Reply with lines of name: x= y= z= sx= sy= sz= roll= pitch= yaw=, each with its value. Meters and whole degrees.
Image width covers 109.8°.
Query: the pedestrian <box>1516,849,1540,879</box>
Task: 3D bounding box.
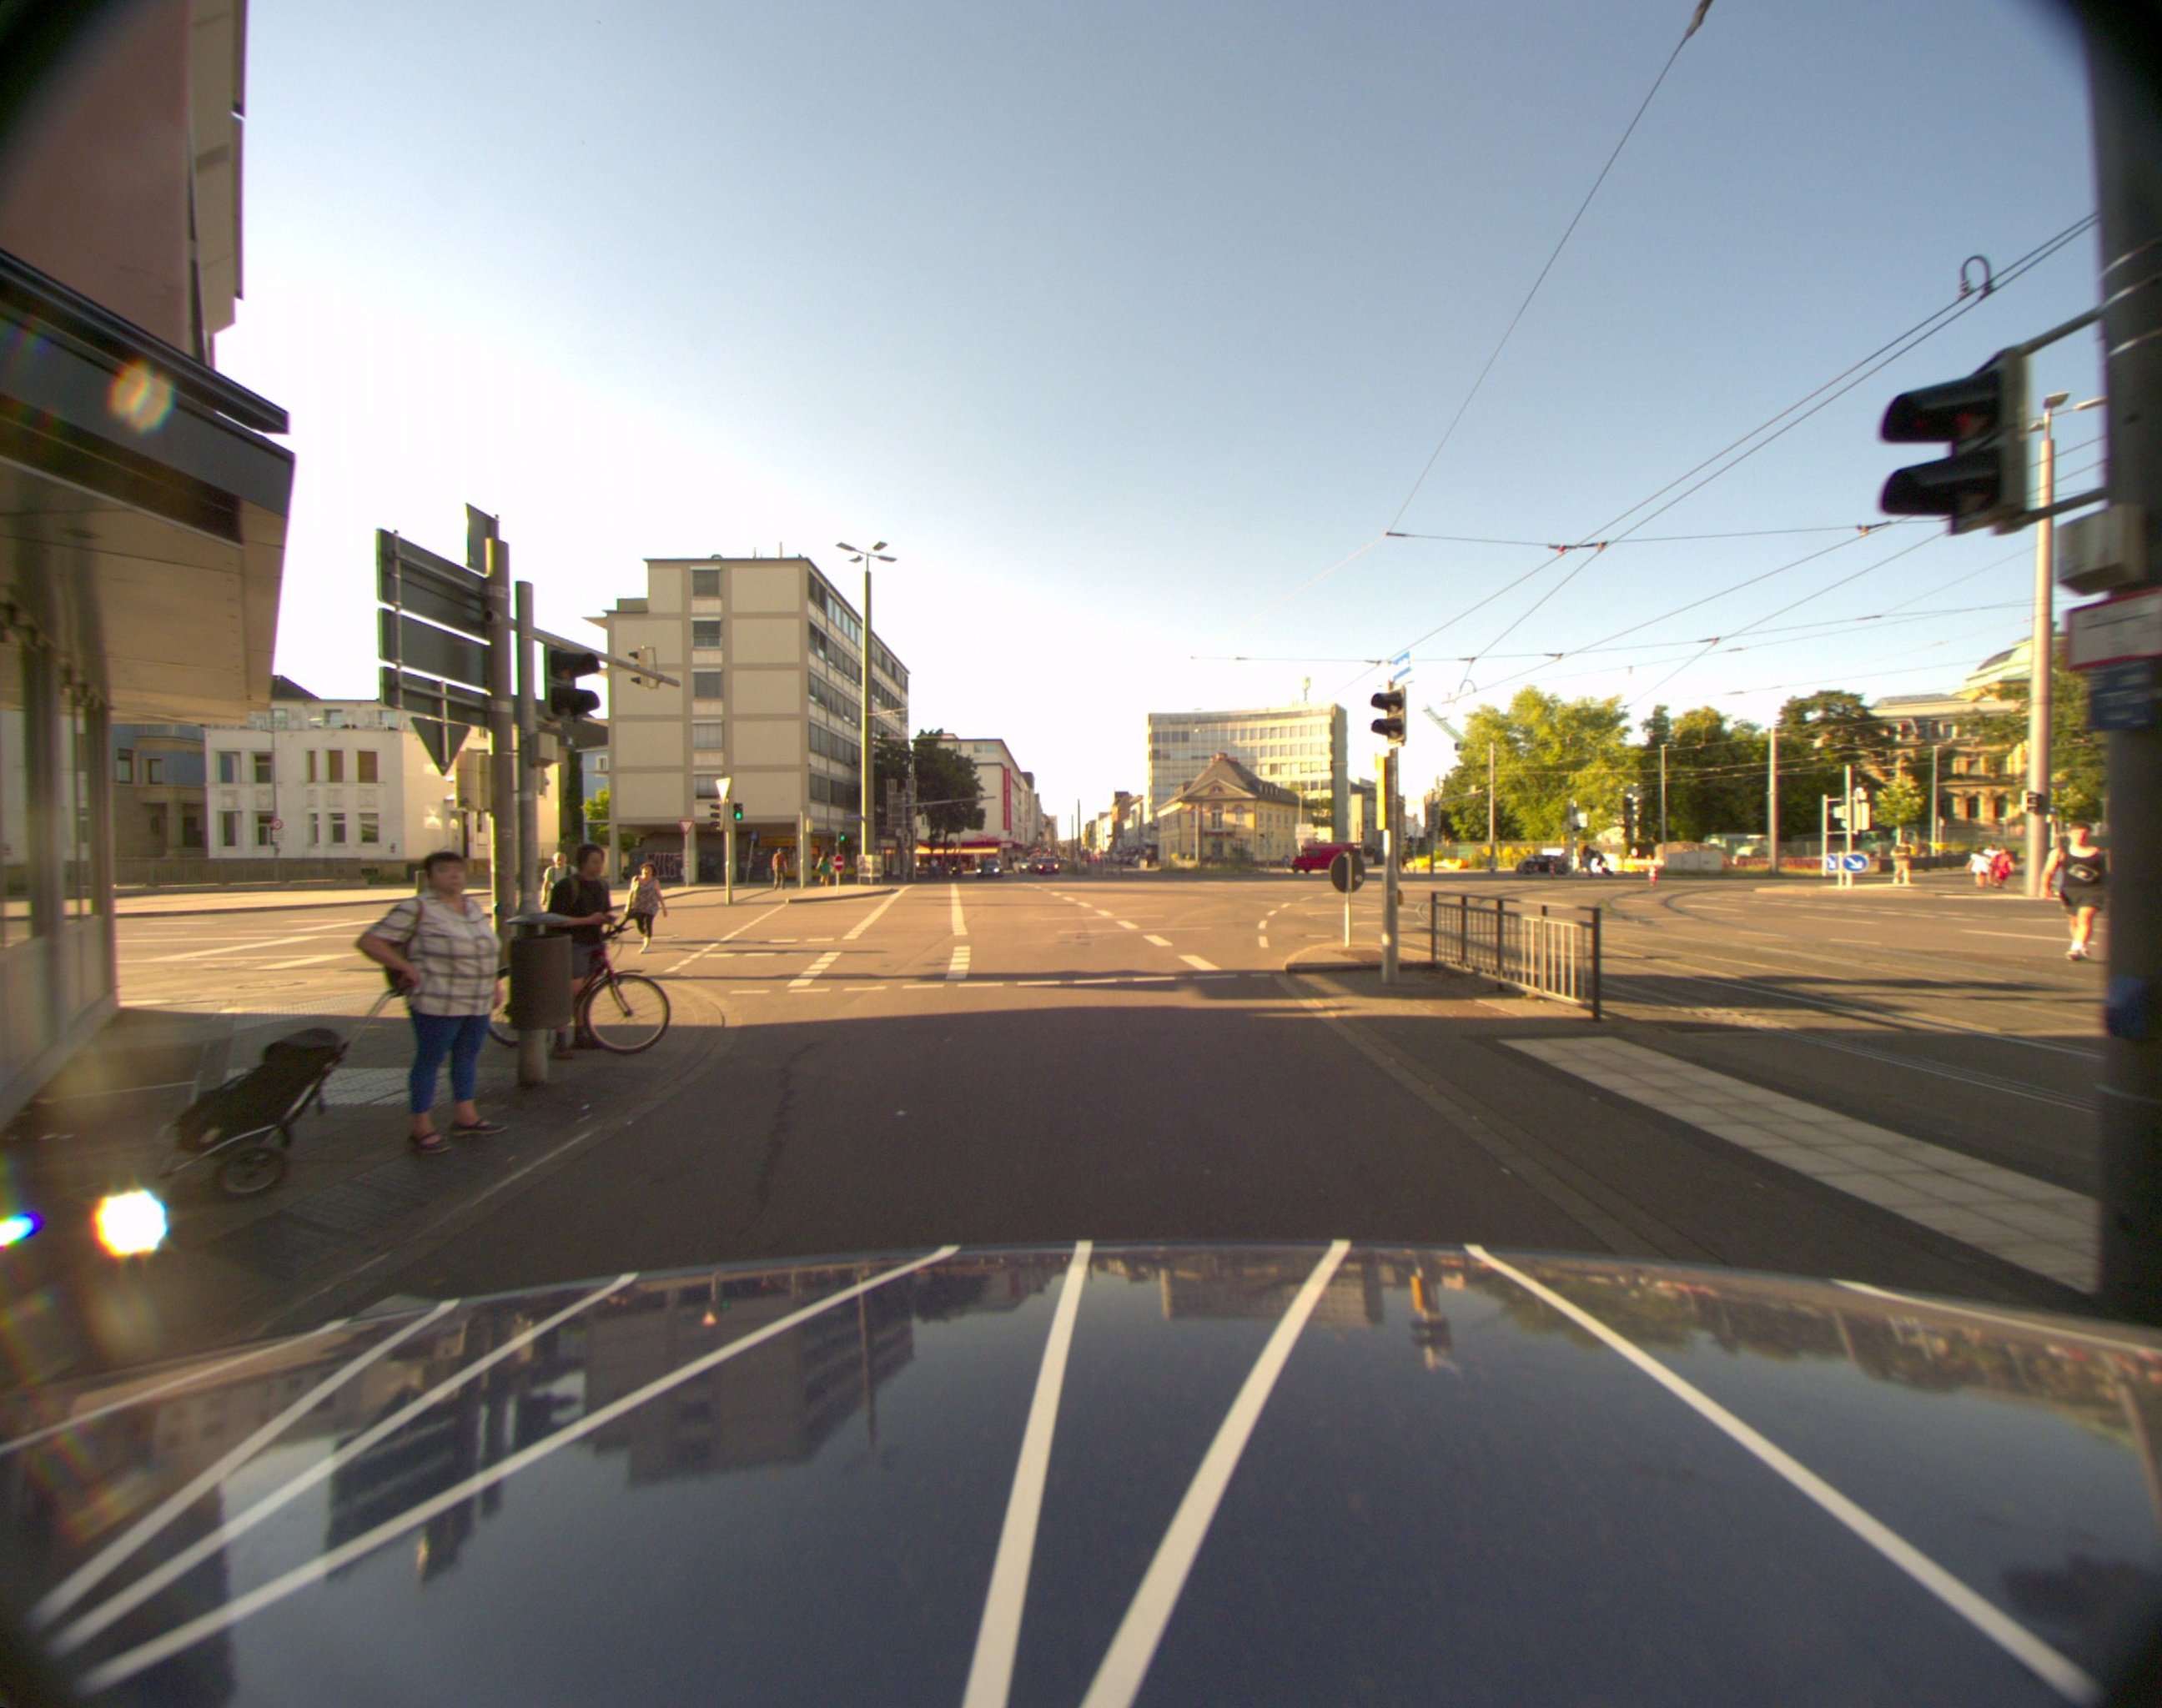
pedestrian: x=31.432 y=0.698 z=53.447 sx=1.073 sy=2.002 sz=0.989 roll=-3 pitch=1 yaw=3

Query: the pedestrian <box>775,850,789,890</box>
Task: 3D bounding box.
pedestrian: x=-12.860 y=0.695 z=32.653 sx=0.406 sy=1.708 sz=0.394 roll=-3 pitch=1 yaw=-13

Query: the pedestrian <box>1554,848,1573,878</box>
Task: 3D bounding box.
pedestrian: x=33.877 y=0.638 z=53.356 sx=1.011 sy=2.002 sz=0.991 roll=-3 pitch=1 yaw=33

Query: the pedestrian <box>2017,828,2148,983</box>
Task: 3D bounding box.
pedestrian: x=12.478 y=0.609 z=9.478 sx=0.812 sy=1.793 sz=0.859 roll=-4 pitch=1 yaw=-30

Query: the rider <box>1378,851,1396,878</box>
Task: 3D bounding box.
rider: x=23.244 y=0.777 z=57.725 sx=1.011 sy=2.002 sz=1.022 roll=-3 pitch=1 yaw=33

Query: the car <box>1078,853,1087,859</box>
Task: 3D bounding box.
car: x=0.329 y=0.599 z=208.612 sx=1.972 sy=1.664 sz=4.873 roll=-2 pitch=0 yaw=-5

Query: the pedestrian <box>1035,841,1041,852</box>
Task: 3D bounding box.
pedestrian: x=-5.455 y=-0.942 z=96.071 sx=0.597 sy=1.434 sz=0.613 roll=-1 pitch=1 yaw=-13

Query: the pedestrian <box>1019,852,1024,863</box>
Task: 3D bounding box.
pedestrian: x=-7.793 y=0.439 z=100.032 sx=0.597 sy=1.434 sz=0.613 roll=0 pitch=1 yaw=-4

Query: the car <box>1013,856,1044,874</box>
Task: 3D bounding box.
car: x=-5.316 y=1.125 z=76.846 sx=1.974 sy=1.664 sz=4.868 roll=-2 pitch=0 yaw=-18

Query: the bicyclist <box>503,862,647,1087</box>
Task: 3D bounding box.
bicyclist: x=-4.010 y=0.904 z=6.081 sx=0.637 sy=1.668 sz=0.768 roll=-1 pitch=1 yaw=-5

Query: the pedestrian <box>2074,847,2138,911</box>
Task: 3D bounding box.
pedestrian: x=29.127 y=0.699 z=21.605 sx=0.858 sy=1.757 sz=0.813 roll=-2 pitch=1 yaw=36

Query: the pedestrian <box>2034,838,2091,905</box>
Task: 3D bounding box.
pedestrian: x=30.569 y=0.541 z=23.688 sx=0.858 sy=2.002 sz=0.813 roll=-2 pitch=1 yaw=36

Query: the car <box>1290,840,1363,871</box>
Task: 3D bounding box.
car: x=21.000 y=0.142 z=65.184 sx=2.548 sy=2.440 sz=5.408 roll=-2 pitch=0 yaw=-40

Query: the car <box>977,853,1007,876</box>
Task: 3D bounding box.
car: x=-6.867 y=0.823 z=59.130 sx=1.972 sy=1.664 sz=4.874 roll=-2 pitch=0 yaw=-4

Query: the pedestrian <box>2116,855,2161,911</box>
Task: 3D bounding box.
pedestrian: x=30.066 y=0.811 z=21.388 sx=0.858 sy=1.502 sz=0.813 roll=-2 pitch=1 yaw=36

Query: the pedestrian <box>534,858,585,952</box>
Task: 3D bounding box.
pedestrian: x=-10.068 y=0.952 z=14.694 sx=0.655 sy=1.758 sz=0.811 roll=-1 pitch=1 yaw=-23

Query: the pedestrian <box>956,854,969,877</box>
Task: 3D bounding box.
pedestrian: x=-9.266 y=0.903 z=59.478 sx=0.860 sy=1.700 sz=1.051 roll=-2 pitch=1 yaw=-6

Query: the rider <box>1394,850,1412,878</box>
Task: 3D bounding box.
rider: x=24.162 y=0.759 z=57.053 sx=1.011 sy=2.002 sz=0.991 roll=-3 pitch=1 yaw=33

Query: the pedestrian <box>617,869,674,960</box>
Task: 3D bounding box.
pedestrian: x=-7.592 y=1.034 z=13.279 sx=0.692 sy=1.526 sz=0.613 roll=-1 pitch=1 yaw=-12

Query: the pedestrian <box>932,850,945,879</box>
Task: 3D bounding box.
pedestrian: x=-10.142 y=0.740 z=53.996 sx=0.747 sy=2.002 sz=1.070 roll=-3 pitch=1 yaw=-14

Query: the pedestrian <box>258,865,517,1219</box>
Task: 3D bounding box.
pedestrian: x=-3.577 y=0.905 z=3.998 sx=0.637 sy=1.652 sz=0.768 roll=3 pitch=0 yaw=-10

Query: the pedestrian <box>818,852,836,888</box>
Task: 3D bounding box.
pedestrian: x=-10.625 y=0.657 z=31.803 sx=0.597 sy=1.434 sz=0.613 roll=-3 pitch=1 yaw=-13

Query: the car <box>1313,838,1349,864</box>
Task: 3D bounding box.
car: x=31.547 y=-0.431 z=95.759 sx=2.535 sy=3.031 sz=6.387 roll=2 pitch=2 yaw=36

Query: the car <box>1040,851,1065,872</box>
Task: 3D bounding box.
car: x=-2.332 y=0.621 z=63.556 sx=1.972 sy=1.664 sz=4.875 roll=-2 pitch=0 yaw=-1

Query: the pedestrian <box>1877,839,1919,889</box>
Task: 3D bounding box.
pedestrian: x=33.315 y=0.399 z=30.992 sx=0.811 sy=2.002 sz=0.860 roll=-3 pitch=1 yaw=-15

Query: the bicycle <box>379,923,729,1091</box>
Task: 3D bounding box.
bicycle: x=-4.095 y=1.171 z=6.069 sx=2.176 sy=1.117 sz=0.768 roll=-1 pitch=1 yaw=-5
